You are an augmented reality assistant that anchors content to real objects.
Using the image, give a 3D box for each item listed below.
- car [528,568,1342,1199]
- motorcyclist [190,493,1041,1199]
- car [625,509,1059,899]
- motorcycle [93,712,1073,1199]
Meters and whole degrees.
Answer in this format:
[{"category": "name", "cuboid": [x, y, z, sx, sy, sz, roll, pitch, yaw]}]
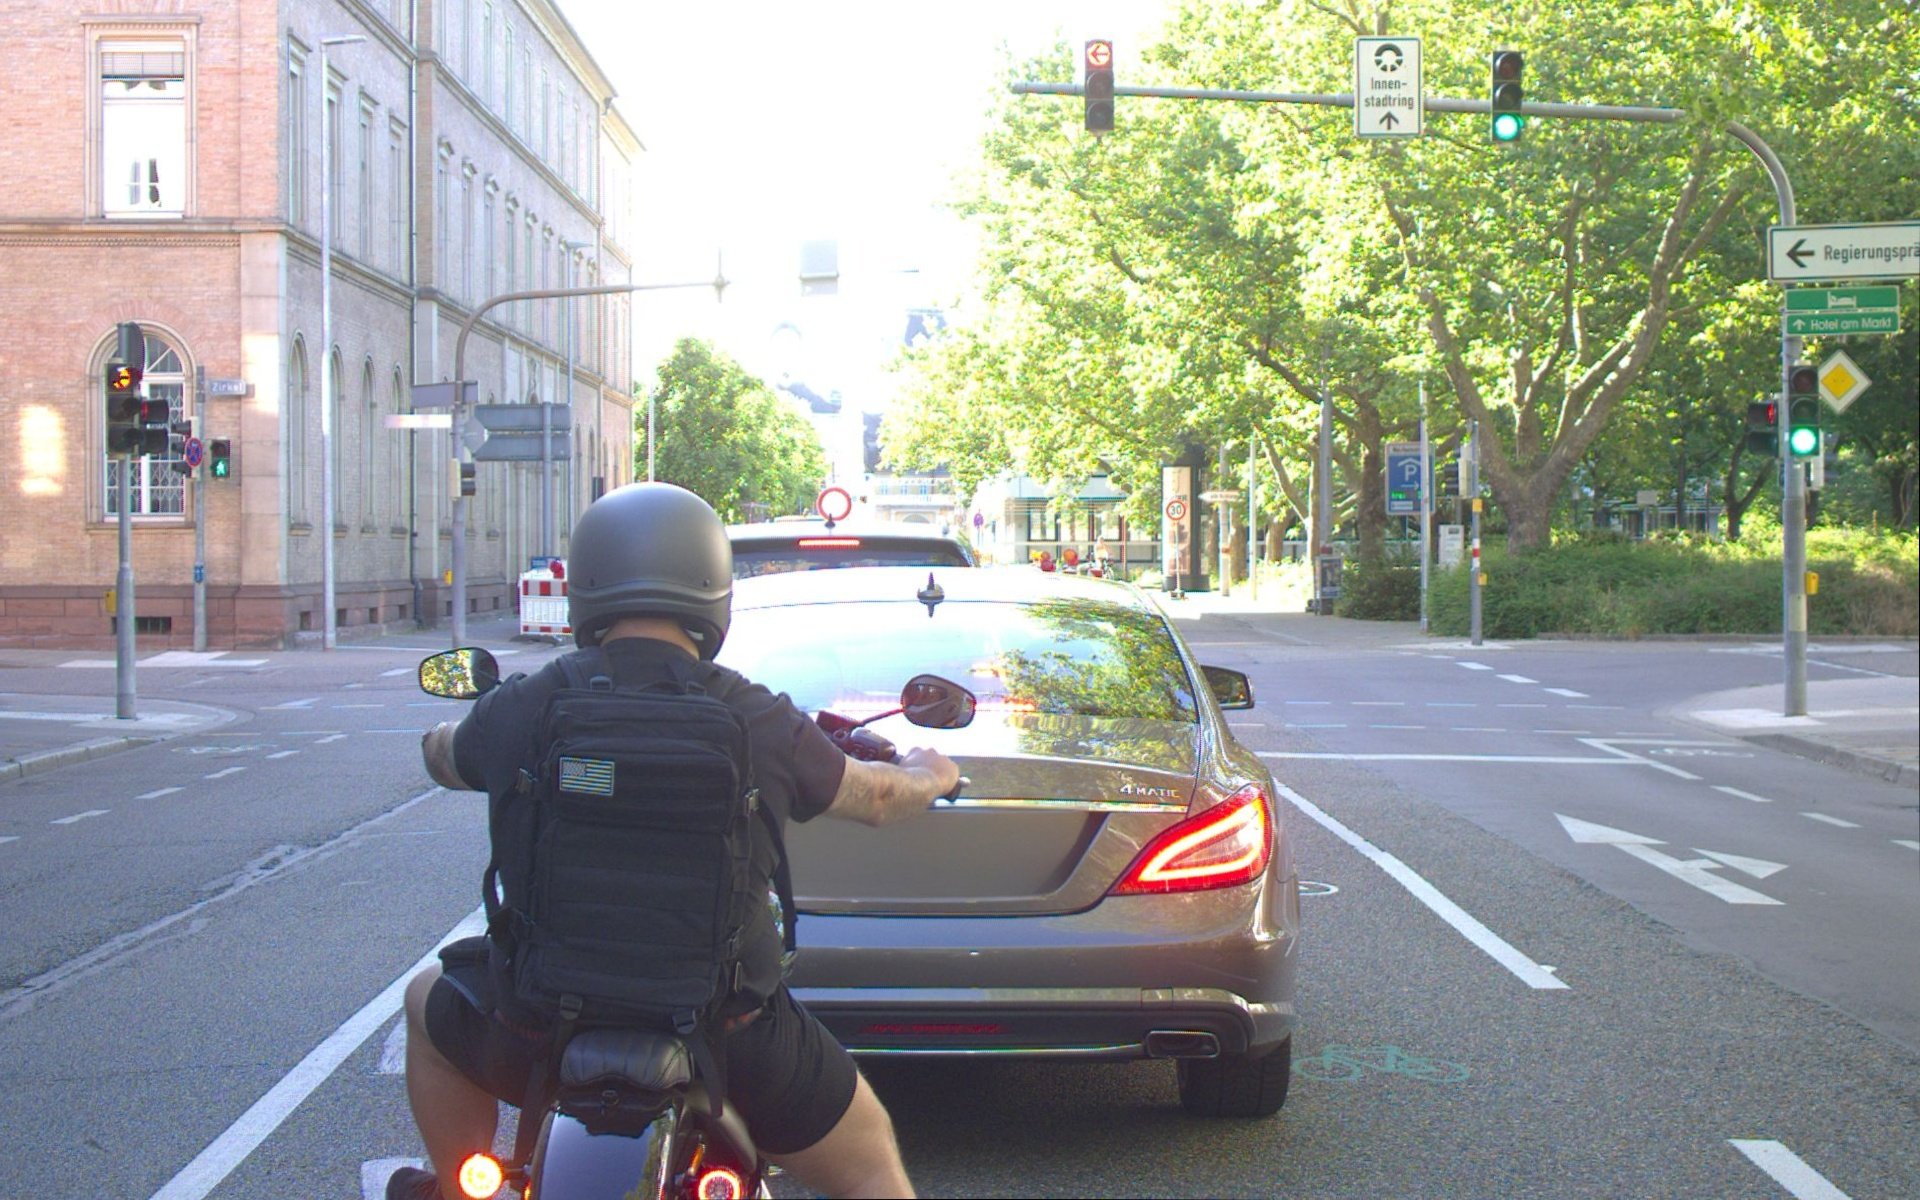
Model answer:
[{"category": "car", "cuboid": [-0.077, 0.639, 9.679, 1.822, 1.432, 3.806, 1, 1, -1]}, {"category": "motorcyclist", "cuboid": [-0.475, 0.634, 5.291, 1.099, 1.560, 1.071, 1, 0, 6]}, {"category": "car", "cuboid": [-0.536, 0.432, 16.957, 1.863, 1.672, 4.000, 1, 1, -1]}, {"category": "motorcycle", "cuboid": [-0.461, 0.837, 5.515, 1.118, 1.203, 2.212, 1, 1, 6]}]
